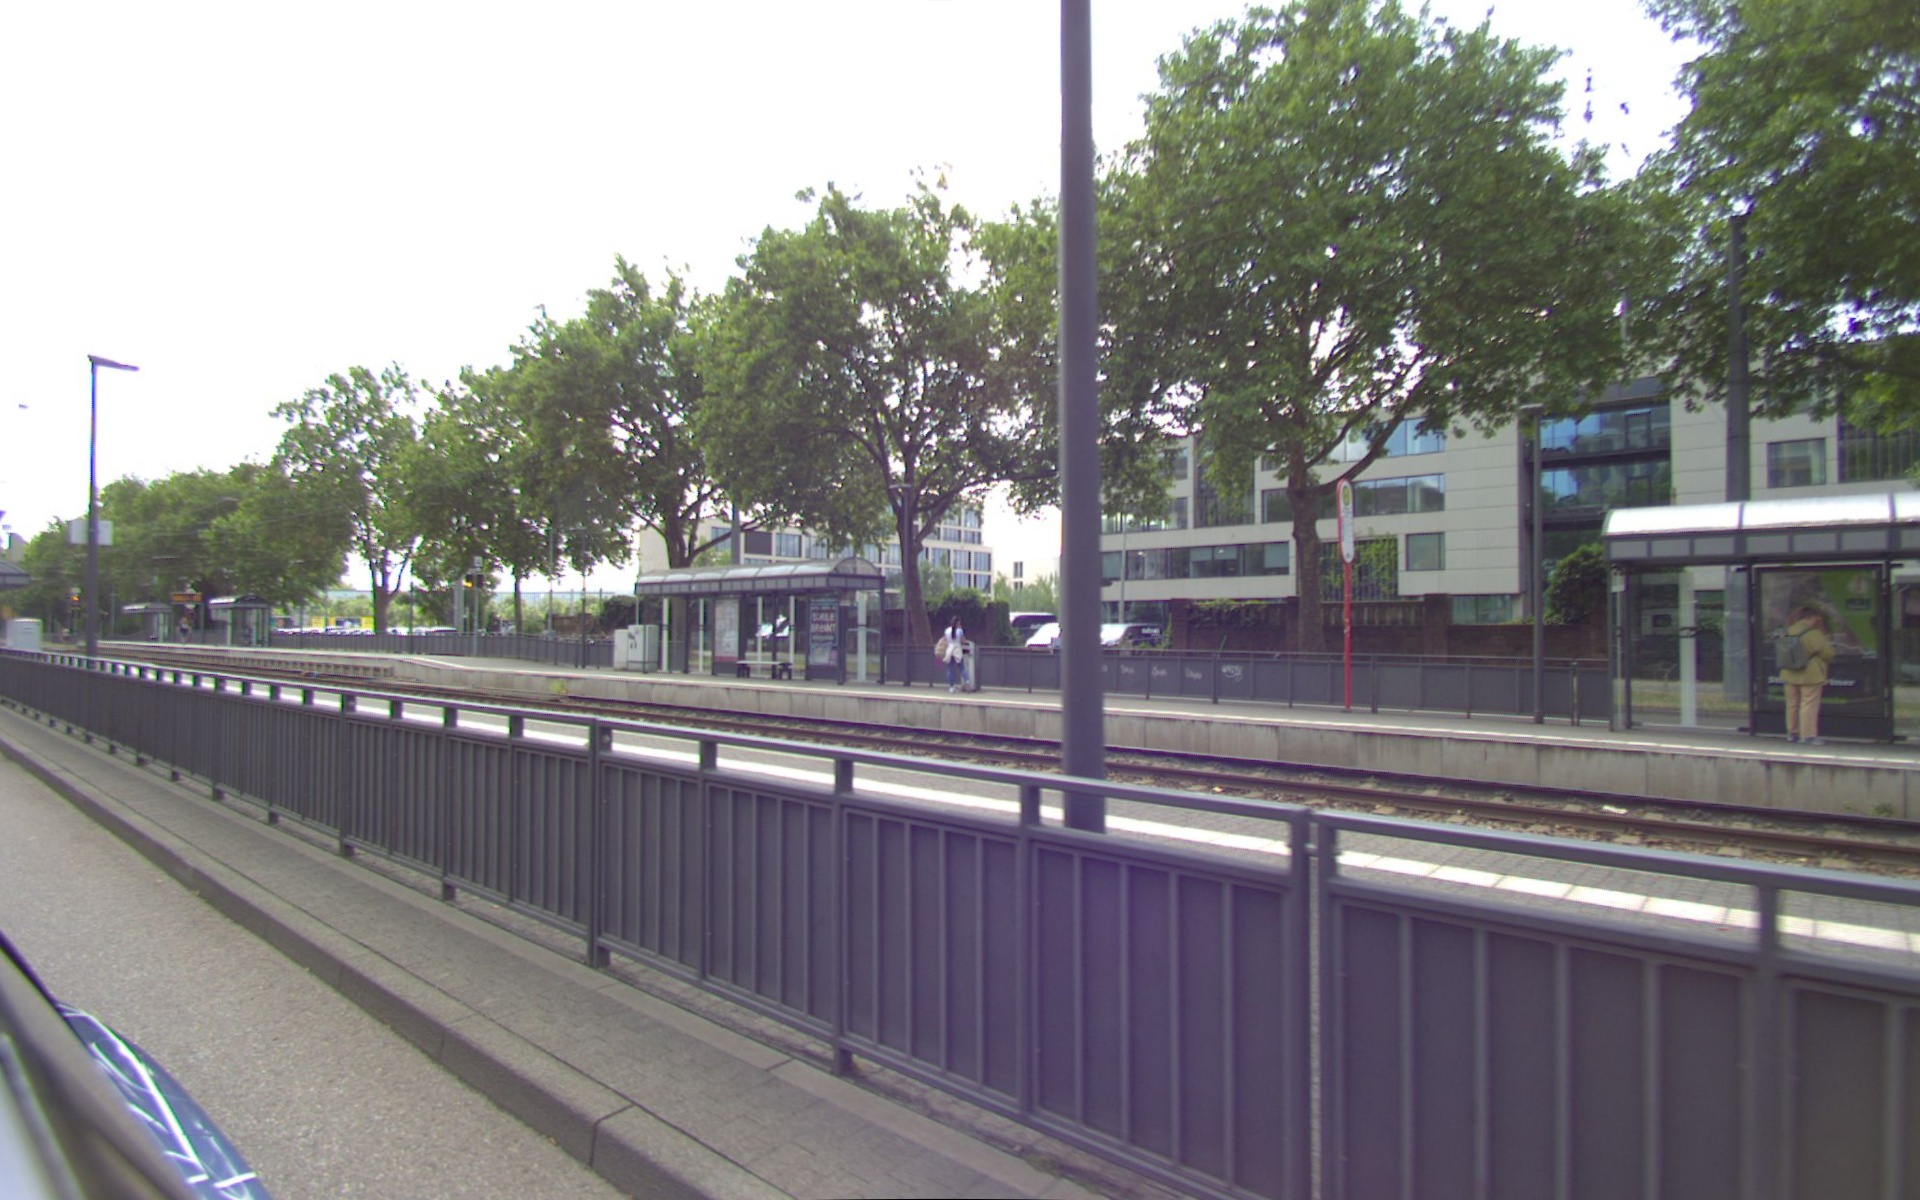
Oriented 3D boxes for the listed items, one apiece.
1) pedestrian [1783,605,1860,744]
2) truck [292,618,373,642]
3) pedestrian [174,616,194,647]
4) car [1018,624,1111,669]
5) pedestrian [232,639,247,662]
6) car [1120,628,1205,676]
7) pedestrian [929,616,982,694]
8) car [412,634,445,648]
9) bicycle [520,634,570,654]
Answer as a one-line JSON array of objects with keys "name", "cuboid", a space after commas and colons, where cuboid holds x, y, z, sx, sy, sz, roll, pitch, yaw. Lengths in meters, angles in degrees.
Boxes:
[{"name": "pedestrian", "cuboid": [10.105, 0.856, 11.875, 0.643, 1.570, 0.495, -2, -3, 42]}, {"name": "truck", "cuboid": [-118.761, 5.754, 191.915, 2.748, 4.105, 12.647, -2, -4, 43]}, {"name": "pedestrian", "cuboid": [-47.398, 1.935, 61.840, 0.863, 1.859, 0.700, -2, -3, 36]}, {"name": "car", "cuboid": [4.925, 2.208, 47.334, 1.936, 2.004, 4.774, -1, -4, 41]}, {"name": "pedestrian", "cuboid": [-41.502, 2.903, 58.289, 0.768, 1.279, 0.546, -2, -3, 43]}, {"name": "car", "cuboid": [9.064, 2.338, 45.031, 1.959, 2.049, 4.094, -1, -4, 41]}, {"name": "pedestrian", "cuboid": [-0.081, 1.100, 20.324, 0.802, 1.524, 0.695, -2, -3, 38]}, {"name": "car", "cuboid": [-56.755, 4.361, 108.031, 3.998, 1.487, 1.779, -2, -3, 41]}, {"name": "bicycle", "cuboid": [-27.405, 2.890, 66.868, 3.003, 1.176, 0.635, -2, 0, -44]}]
